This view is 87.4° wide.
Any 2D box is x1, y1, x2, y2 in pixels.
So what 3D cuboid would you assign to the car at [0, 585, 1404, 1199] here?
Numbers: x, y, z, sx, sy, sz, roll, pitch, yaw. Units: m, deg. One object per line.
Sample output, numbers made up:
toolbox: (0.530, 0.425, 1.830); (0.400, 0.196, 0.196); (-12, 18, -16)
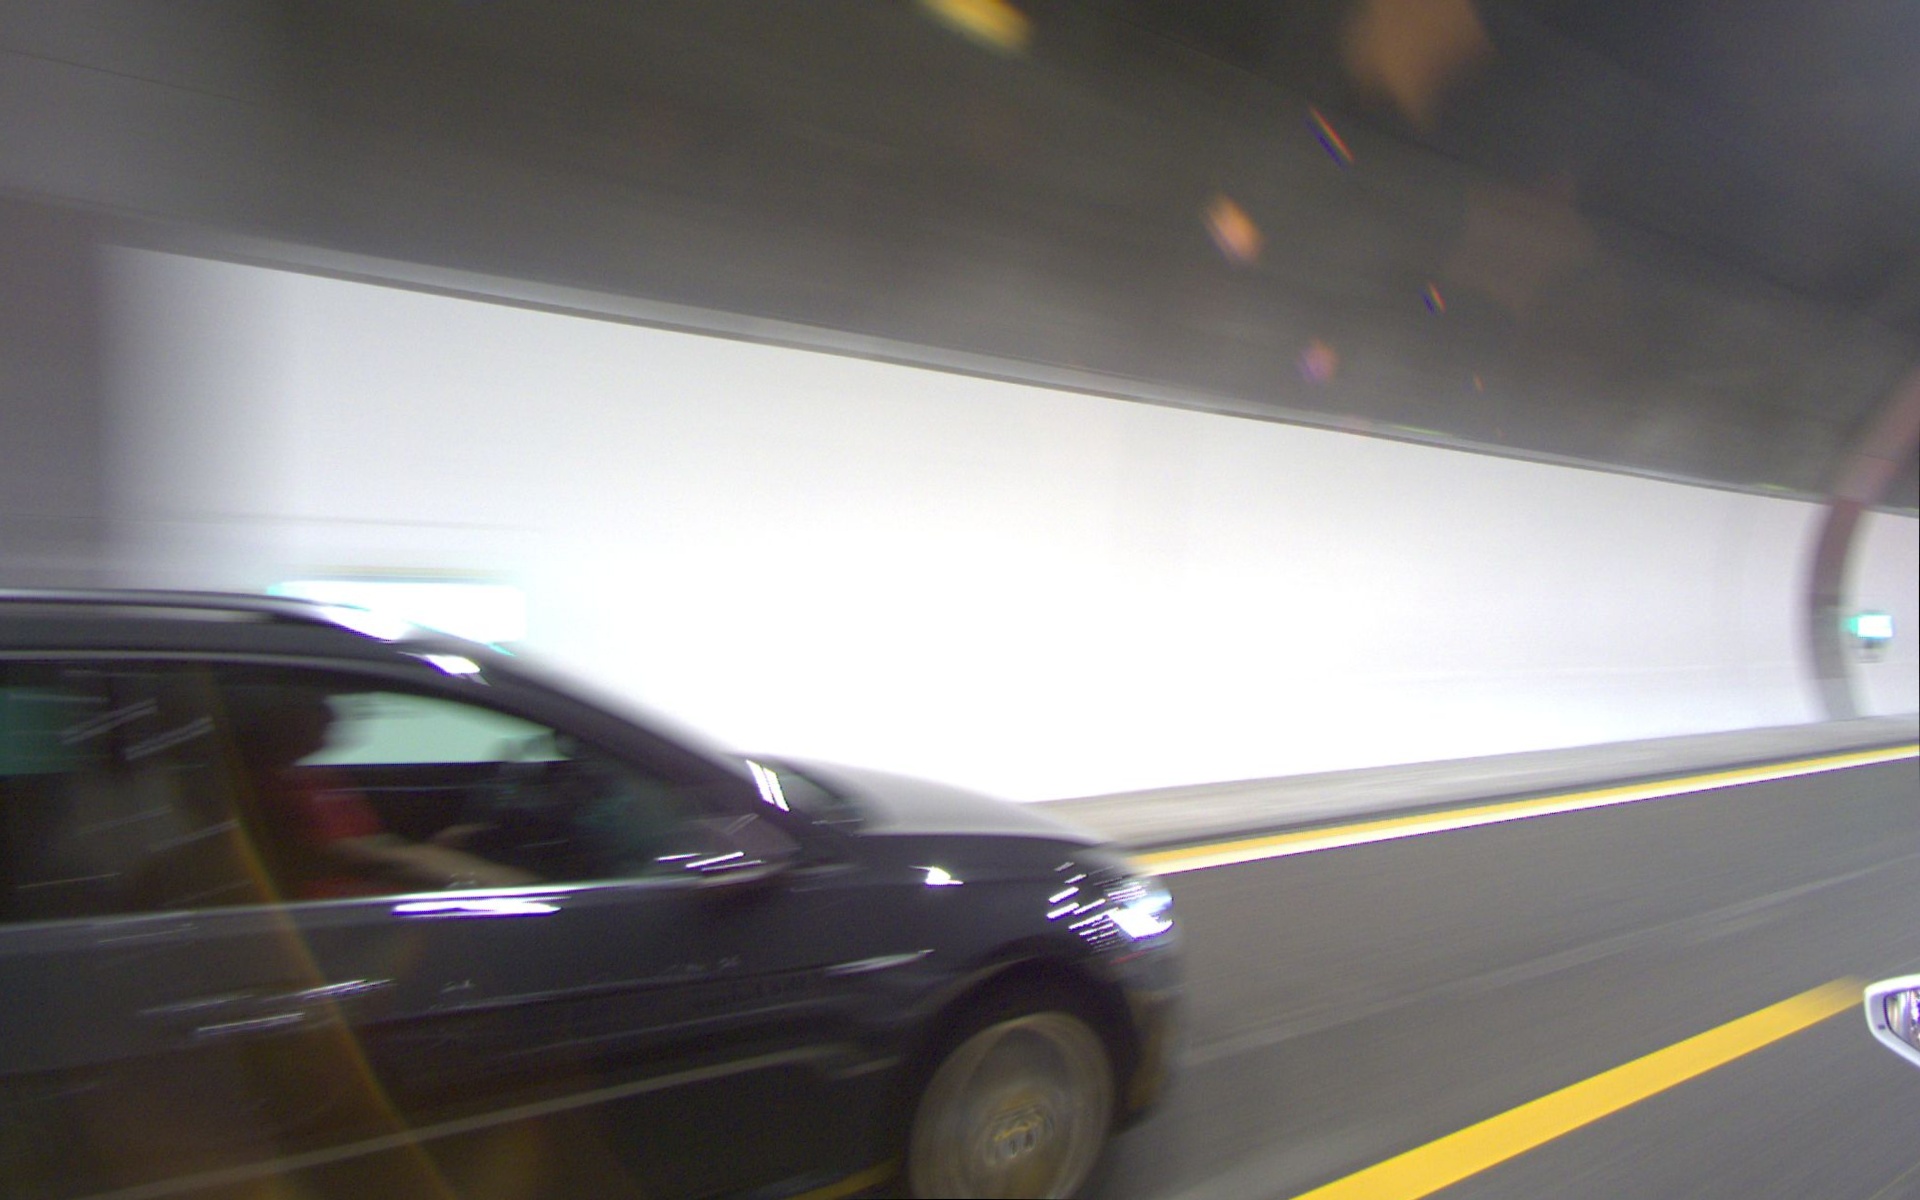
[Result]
car: (-1.307, 0.715, 2.318); (4.825, 1.457, 1.769); (1, 0, -30)
